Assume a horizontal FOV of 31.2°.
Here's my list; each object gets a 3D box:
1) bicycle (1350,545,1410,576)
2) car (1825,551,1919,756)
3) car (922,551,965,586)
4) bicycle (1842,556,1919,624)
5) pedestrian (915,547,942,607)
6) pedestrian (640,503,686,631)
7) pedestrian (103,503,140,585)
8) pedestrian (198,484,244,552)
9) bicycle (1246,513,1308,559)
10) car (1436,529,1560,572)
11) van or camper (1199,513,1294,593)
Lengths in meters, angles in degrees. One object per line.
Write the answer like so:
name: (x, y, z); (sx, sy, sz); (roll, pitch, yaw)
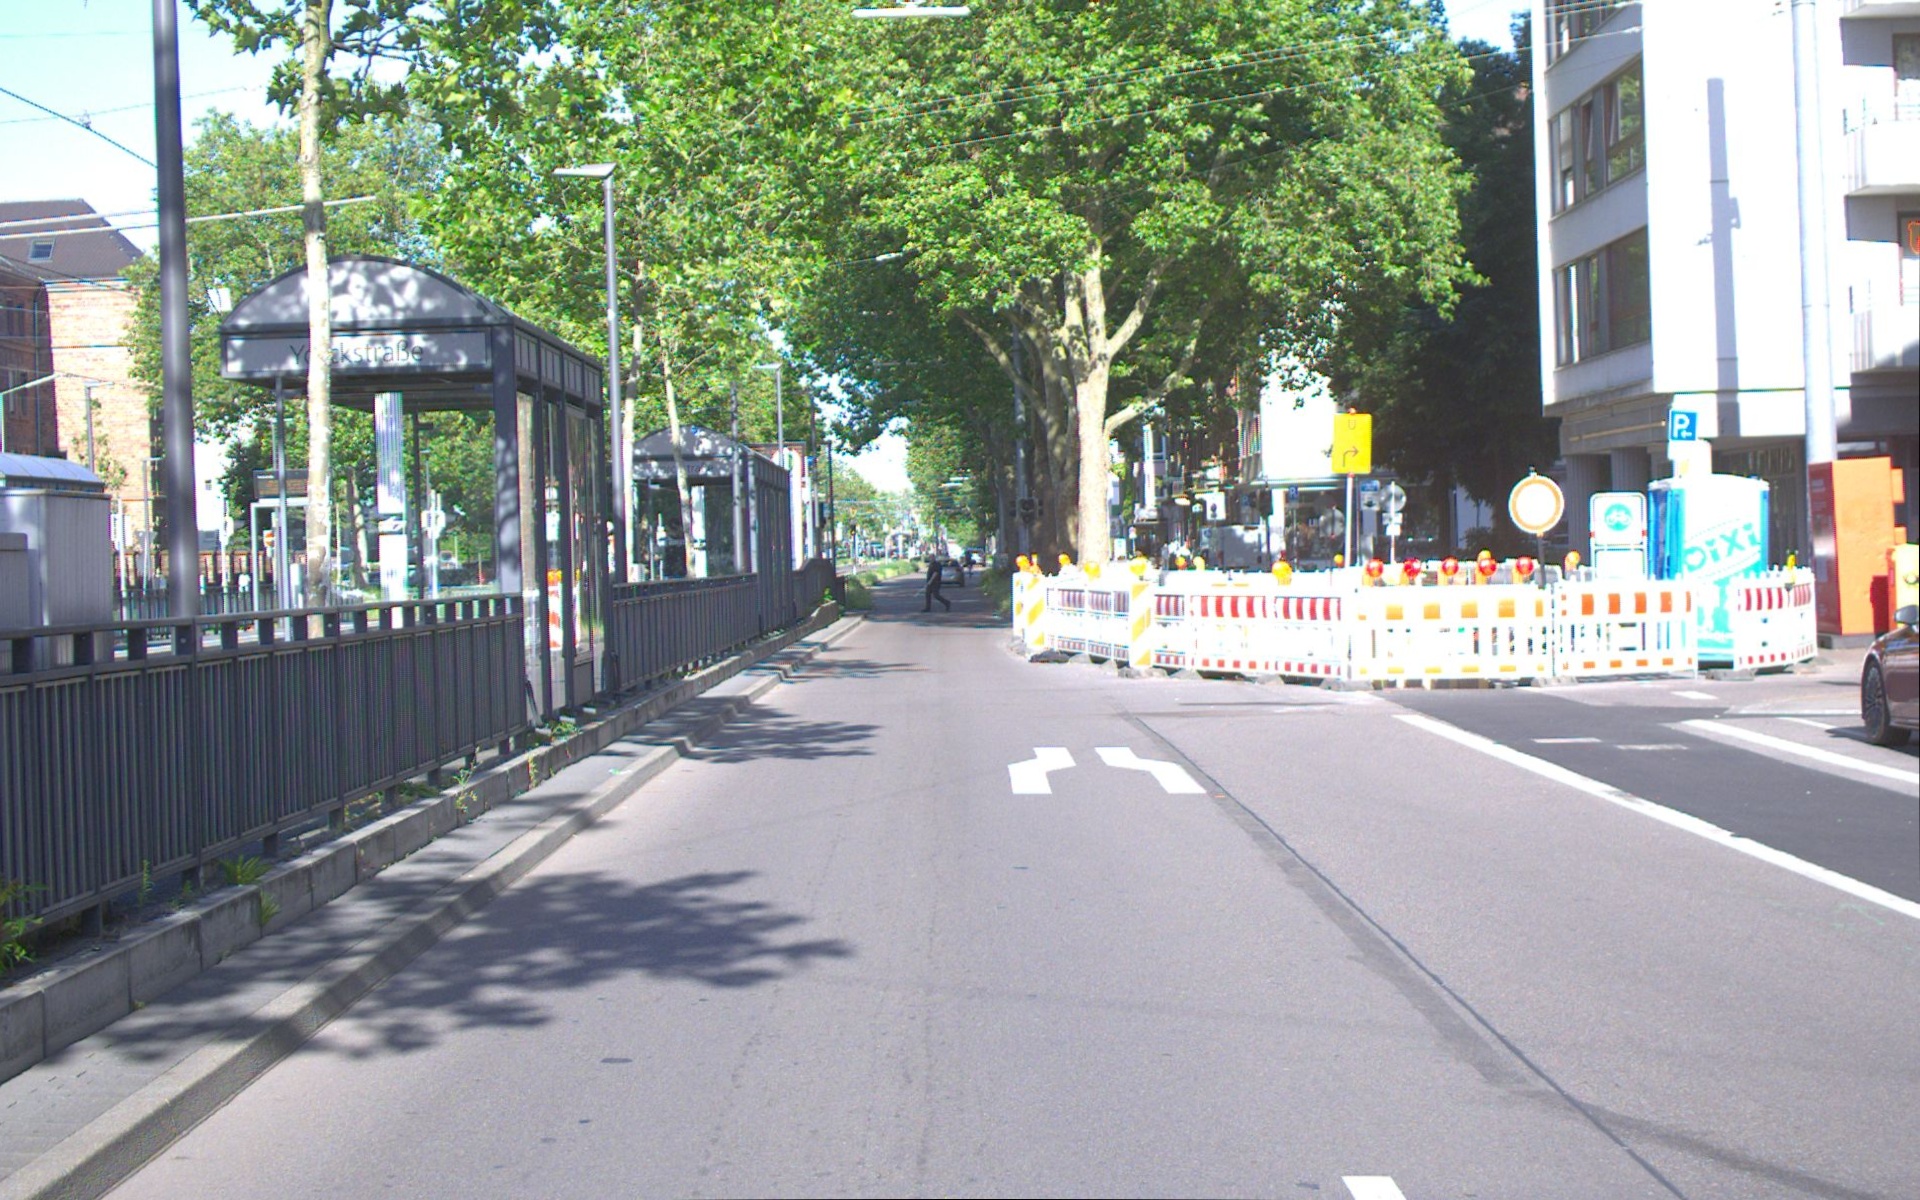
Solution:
bicycle: (15.571, -1.478, 127.479); (2.141, 1.100, 0.507); (-1, 1, 25)
car: (7.728, 0.368, 24.471); (1.872, 1.438, 5.159); (-1, 1, 1)
car: (-0.792, -1.552, 166.916); (2.021, 1.656, 4.000); (-1, 1, 0)
bicycle: (13.644, -0.155, 48.905); (2.030, 0.940, 1.016); (-1, 1, 20)
pedestrian: (-0.885, -0.641, 97.014); (0.712, 1.674, 0.772); (-1, 1, -1)
pedestrian: (-4.694, -0.526, 54.294); (0.667, 2.007, 0.716); (-1, 1, -2)
pedestrian: (-20.892, -1.395, 85.681); (0.662, 2.007, 0.860); (-1, 1, -1)
pedestrian: (-19.220, -2.127, 89.425); (0.953, 1.730, 0.730); (-1, 1, 3)
bicycle: (9.148, -1.841, 99.326); (1.603, 1.259, 0.963); (-2, 1, -4)
car: (21.235, -1.966, 135.687); (4.589, 1.575, 1.999); (-1, 1, 16)
van or camper: (8.560, -1.413, 103.097); (2.291, 2.279, 5.823); (-1, 1, 0)
